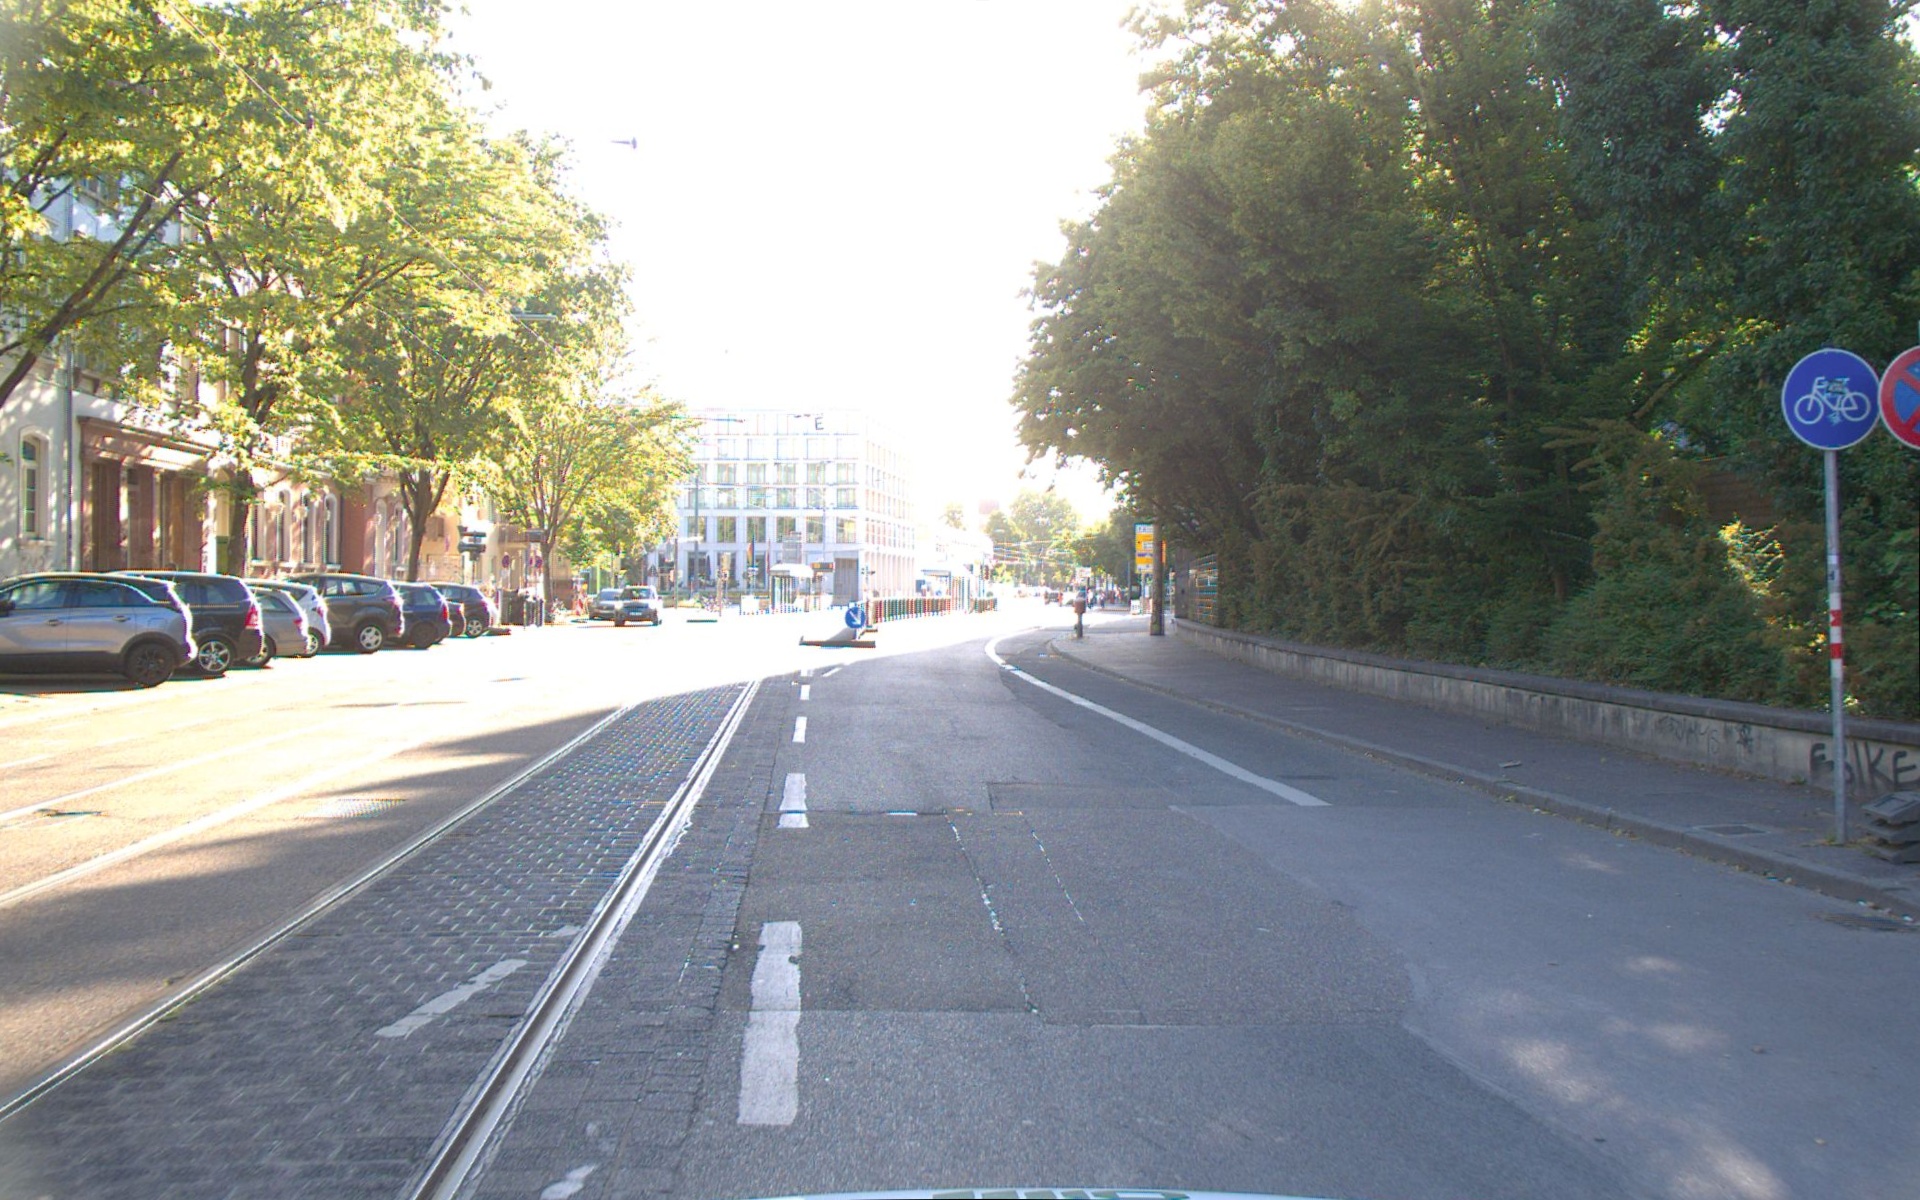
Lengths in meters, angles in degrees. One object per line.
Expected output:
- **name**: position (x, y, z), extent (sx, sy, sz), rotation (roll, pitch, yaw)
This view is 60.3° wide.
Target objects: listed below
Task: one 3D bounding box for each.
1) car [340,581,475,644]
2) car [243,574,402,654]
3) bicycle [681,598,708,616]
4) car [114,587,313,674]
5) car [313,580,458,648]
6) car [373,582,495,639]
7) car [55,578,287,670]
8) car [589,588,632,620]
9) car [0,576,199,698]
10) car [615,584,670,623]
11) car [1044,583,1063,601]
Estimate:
- **car**: position (-14.579, 0.313, 43.660), extent (3.233, 1.613, 1.457), rotation (0, 0, -27)
- **car**: position (-14.330, 0.294, 37.188), extent (3.233, 1.728, 1.457), rotation (0, 0, -27)
- **bicycle**: position (-18.435, 0.460, 114.871), extent (1.763, 1.245, 0.597), rotation (0, 0, -14)
- **car**: position (-13.560, 0.512, 30.080), extent (3.233, 1.510, 1.457), rotation (0, 0, -27)
- **car**: position (-14.142, 0.323, 40.739), extent (3.233, 1.613, 1.457), rotation (0, 0, -27)
- **car**: position (-15.314, 0.287, 48.156), extent (3.233, 1.613, 1.457), rotation (0, 0, -27)
- **car**: position (-13.068, 0.375, 27.446), extent (3.342, 1.444, 1.389), rotation (0, 0, -33)
- **car**: position (-17.052, 0.172, 80.771), extent (1.542, 1.516, 3.996), rotation (0, 0, -5)
- **car**: position (-13.113, 0.516, 24.341), extent (3.342, 1.727, 1.389), rotation (0, 0, -33)
- **car**: position (-12.991, 0.135, 67.854), extent (1.526, 1.557, 3.999), rotation (0, 0, -1)
- **car**: position (10.882, -0.907, 191.736), extent (1.951, 2.049, 4.003), rotation (0, 1, 7)
